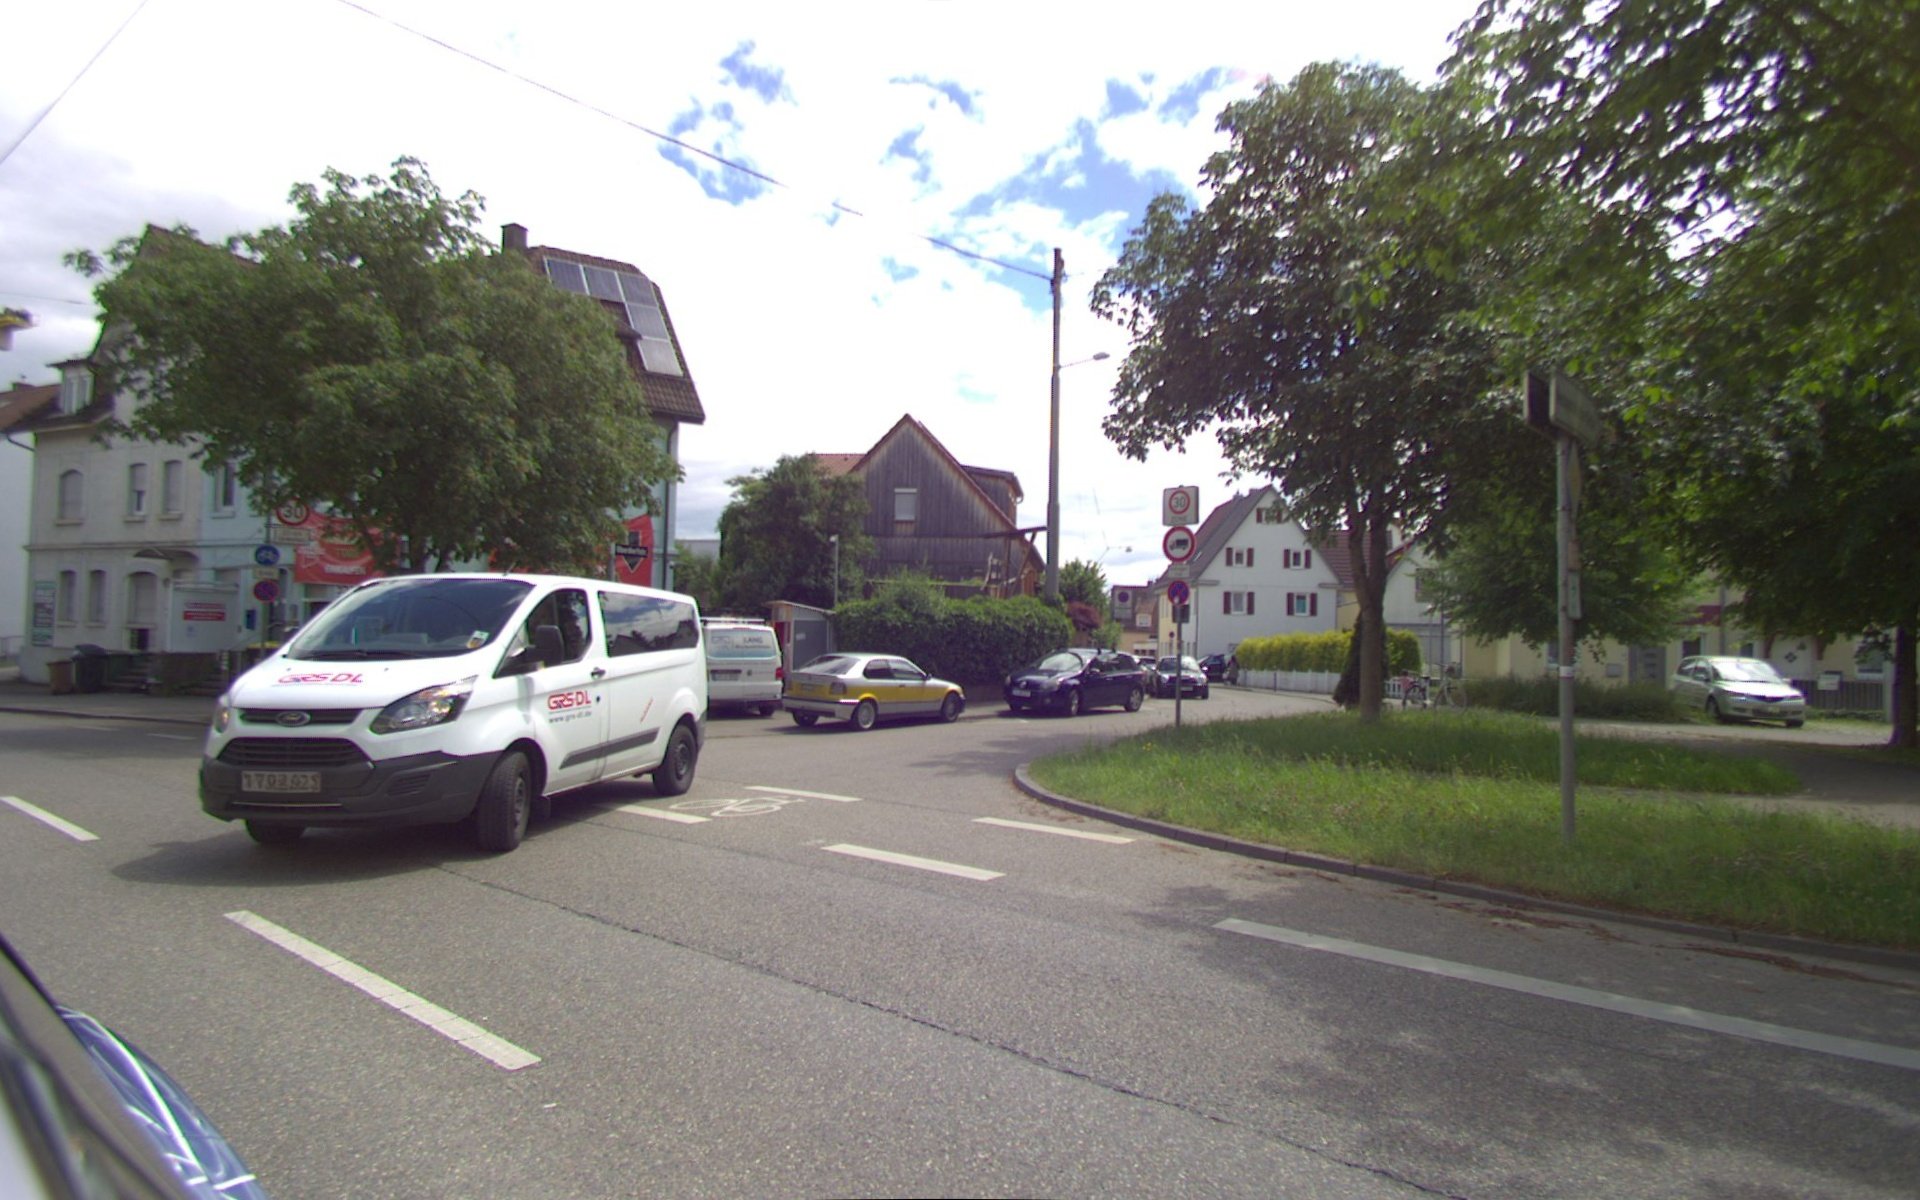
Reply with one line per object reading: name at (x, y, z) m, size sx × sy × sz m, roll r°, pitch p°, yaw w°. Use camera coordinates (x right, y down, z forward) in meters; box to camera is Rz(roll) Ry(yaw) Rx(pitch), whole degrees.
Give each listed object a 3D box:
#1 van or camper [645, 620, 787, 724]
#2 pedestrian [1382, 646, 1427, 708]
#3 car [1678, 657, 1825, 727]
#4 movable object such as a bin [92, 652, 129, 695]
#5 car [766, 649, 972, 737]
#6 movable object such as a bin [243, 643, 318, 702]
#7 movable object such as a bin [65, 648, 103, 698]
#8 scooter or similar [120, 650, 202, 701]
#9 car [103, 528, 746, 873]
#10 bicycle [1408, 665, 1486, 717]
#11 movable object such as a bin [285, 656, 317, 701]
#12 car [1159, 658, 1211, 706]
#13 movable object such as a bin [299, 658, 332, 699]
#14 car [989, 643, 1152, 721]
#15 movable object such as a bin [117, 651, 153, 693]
van or camper at (-5.433, 1.473, 22.129) m, size 1.760 × 2.009 × 4.392 m, roll 2°, pitch -2°, yaw -30°
pedestrian at (11.914, 2.066, 27.138) m, size 0.813 × 1.607 × 0.726 m, roll -7°, pitch -6°, yaw 38°
car at (17.831, 2.060, 22.991) m, size 1.823 × 1.408 × 3.382 m, roll 0°, pitch -4°, yaw 24°
movable object such as a bin at (-23.072, 1.992, 27.488) m, size 0.559 × 1.109 × 0.563 m, roll 0°, pitch 0°, yaw 20°
car at (-1.653, 1.712, 19.620) m, size 1.812 × 1.424 × 3.980 m, roll 0°, pitch -2°, yaw 36°
movable object such as a bin at (-16.865, 1.778, 25.140) m, size 1.239 × 1.365 × 1.015 m, roll 0°, pitch -1°, yaw 23°
movable object such as a bin at (-23.255, 1.925, 26.872) m, size 0.559 × 1.282 × 0.563 m, roll -1°, pitch -1°, yaw 20°
scooter or similar at (-20.373, 1.909, 25.828) m, size 0.542 × 1.193 × 1.546 m, roll 0°, pitch -1°, yaw 24°
car at (-3.800, 0.773, 8.661) m, size 2.085 × 2.009 × 5.213 m, roll 0°, pitch -4°, yaw 9°
bicycle at (9.622, 1.782, 20.084) m, size 0.457 × 0.866 × 2.225 m, roll 1°, pitch -1°, yaw 0°
movable object such as a bin at (-16.045, 1.897, 24.644) m, size 0.514 × 1.048 × 0.431 m, roll 0°, pitch -1°, yaw 23°
car at (7.482, 2.696, 33.909) m, size 1.577 × 1.332 × 3.764 m, roll 2°, pitch -1°, yaw 11°
movable object such as a bin at (-15.549, 1.882, 24.429) m, size 0.514 × 0.939 × 0.444 m, roll 0°, pitch -1°, yaw 23°
car at (2.640, 1.816, 23.452) m, size 1.815 × 1.560 × 3.947 m, roll 1°, pitch -1°, yaw 41°
movable object such as a bin at (-22.877, 1.992, 28.056) m, size 0.559 × 1.109 × 0.563 m, roll 0°, pitch 0°, yaw 20°
